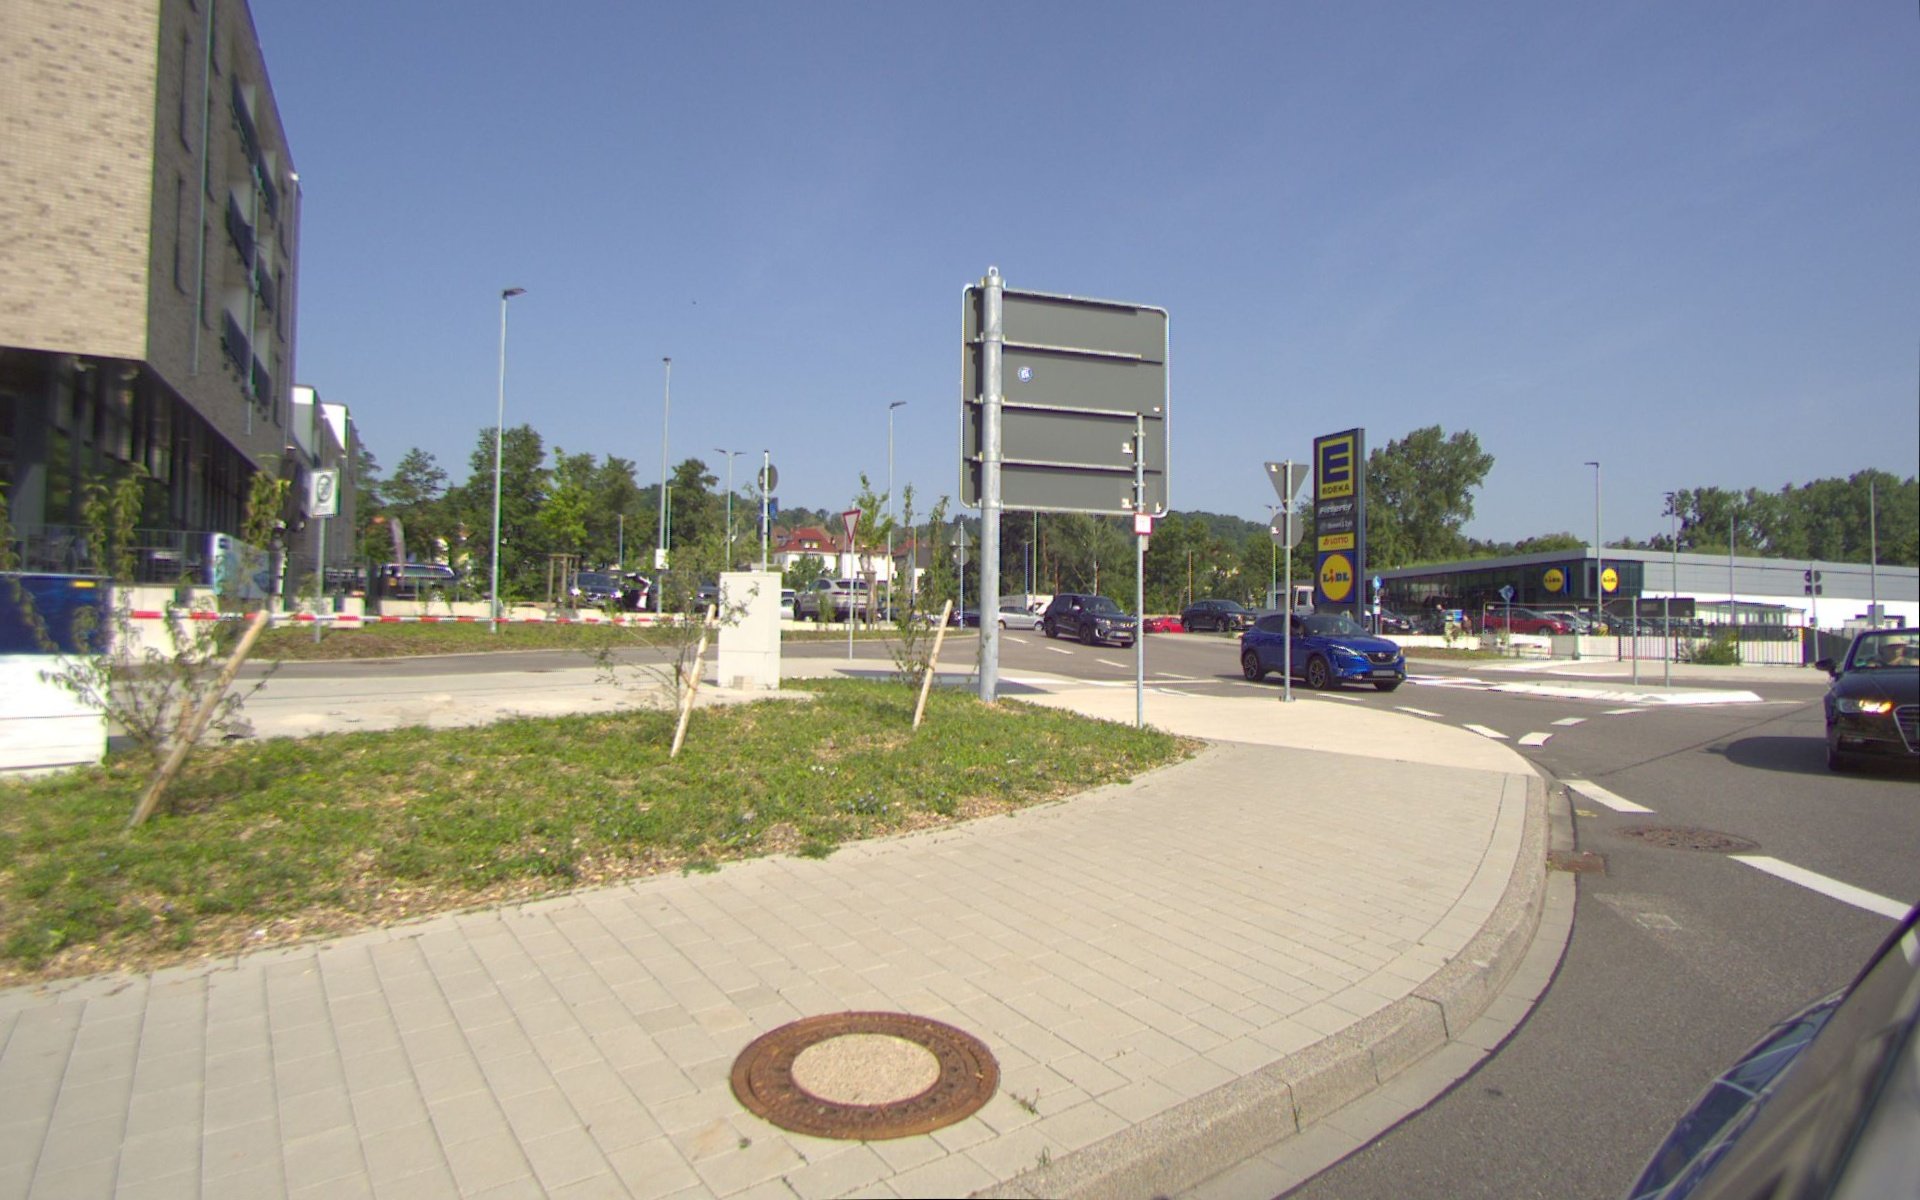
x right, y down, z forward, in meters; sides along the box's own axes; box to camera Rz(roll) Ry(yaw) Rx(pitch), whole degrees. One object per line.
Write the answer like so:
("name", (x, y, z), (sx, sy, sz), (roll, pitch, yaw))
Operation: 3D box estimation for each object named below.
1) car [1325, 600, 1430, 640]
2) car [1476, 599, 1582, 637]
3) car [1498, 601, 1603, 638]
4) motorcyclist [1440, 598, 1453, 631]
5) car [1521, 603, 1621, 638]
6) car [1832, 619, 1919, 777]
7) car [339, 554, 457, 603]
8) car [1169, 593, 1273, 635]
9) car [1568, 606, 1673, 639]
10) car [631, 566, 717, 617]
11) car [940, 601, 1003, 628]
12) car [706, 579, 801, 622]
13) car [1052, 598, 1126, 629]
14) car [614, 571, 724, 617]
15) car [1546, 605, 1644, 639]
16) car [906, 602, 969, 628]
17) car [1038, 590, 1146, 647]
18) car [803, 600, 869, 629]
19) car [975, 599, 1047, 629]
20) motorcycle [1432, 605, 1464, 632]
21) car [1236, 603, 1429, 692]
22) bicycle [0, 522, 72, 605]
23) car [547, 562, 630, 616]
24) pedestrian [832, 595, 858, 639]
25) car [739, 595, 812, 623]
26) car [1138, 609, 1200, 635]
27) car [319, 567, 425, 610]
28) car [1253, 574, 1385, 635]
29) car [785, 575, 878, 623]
("car", (19.236, 0.968, 46.891), (1.795, 1.623, 4.482), (1, -4, -23))
("car", (26.965, 0.902, 48.067), (1.748, 1.595, 4.014), (3, -5, -41))
("car", (28.745, 0.972, 49.343), (1.748, 1.595, 4.014), (3, -5, -41))
("motorcyclist", (23.203, 0.689, 48.248), (0.509, 1.563, 0.577), (-3, -5, 26))
("car", (30.986, 1.092, 51.417), (1.675, 1.595, 3.989), (3, -5, -43))
("car", (9.806, 0.851, 9.928), (1.716, 1.339, 4.158), (-4, -3, 42))
("car", (-18.530, -0.685, 33.394), (3.268, 1.369, 1.490), (2, -5, -34))
("car", (11.260, 0.662, 44.072), (1.882, 1.551, 4.867), (1, -4, -21))
("car", (35.448, 1.255, 54.401), (1.675, 1.595, 4.403), (3, -5, -43))
("car", (-10.129, -0.323, 35.658), (1.820, 1.575, 4.465), (4, -1, -30))
("car", (0.674, 0.835, 56.952), (3.300, 1.392, 1.525), (2, -4, -35))
("car", (-10.981, 0.076, 54.047), (4.561, 2.040, 1.998), (3, -5, -38))
("car", (7.240, 0.766, 56.761), (3.709, 1.595, 1.765), (1, -4, -26))
("car", (-13.361, -0.228, 46.494), (4.485, 1.905, 2.002), (2, -3, -28))
("car", (33.254, 1.183, 53.053), (1.675, 1.595, 3.989), (3, -5, -43))
("car", (-1.361, 0.910, 62.112), (3.556, 1.465, 1.527), (1, -4, -25))
("car", (4.313, 0.575, 33.827), (1.609, 1.409, 4.241), (6, 2, -22))
("car", (-9.275, 1.113, 75.849), (4.552, 2.002, 2.002), (2, -5, -27))
("car", (2.770, 0.765, 54.628), (3.556, 1.465, 1.527), (1, -4, -25))
("motorcycle", (22.983, 0.897, 47.706), (0.579, 1.207, 1.902), (1, -3, 0))
("car", (7.974, 0.941, 22.178), (1.847, 1.684, 4.362), (0, 1, -14))
("bicycle", (-15.421, -0.562, 16.866), (0.842, 1.160, 2.240), (3, -5, -40))
("car", (-12.495, -0.368, 33.844), (1.820, 1.575, 4.465), (4, -1, -30))
("pedestrian", (-4.720, 0.719, 41.609), (0.747, 1.764, 0.875), (-2, -4, 18))
("car", (-9.428, 0.485, 51.731), (3.269, 1.368, 1.627), (1, -4, -35))
("car", (13.944, 1.483, 67.604), (3.709, 1.595, 1.765), (1, -4, -26))
("car", (-21.623, -0.399, 37.334), (3.264, 1.369, 1.492), (1, -4, -27))
("car", (16.303, 0.295, 46.453), (2.017, 2.415, 6.099), (1, -4, -24))
("car", (-4.899, -0.068, 37.967), (1.820, 1.575, 4.829), (4, -1, -27))
